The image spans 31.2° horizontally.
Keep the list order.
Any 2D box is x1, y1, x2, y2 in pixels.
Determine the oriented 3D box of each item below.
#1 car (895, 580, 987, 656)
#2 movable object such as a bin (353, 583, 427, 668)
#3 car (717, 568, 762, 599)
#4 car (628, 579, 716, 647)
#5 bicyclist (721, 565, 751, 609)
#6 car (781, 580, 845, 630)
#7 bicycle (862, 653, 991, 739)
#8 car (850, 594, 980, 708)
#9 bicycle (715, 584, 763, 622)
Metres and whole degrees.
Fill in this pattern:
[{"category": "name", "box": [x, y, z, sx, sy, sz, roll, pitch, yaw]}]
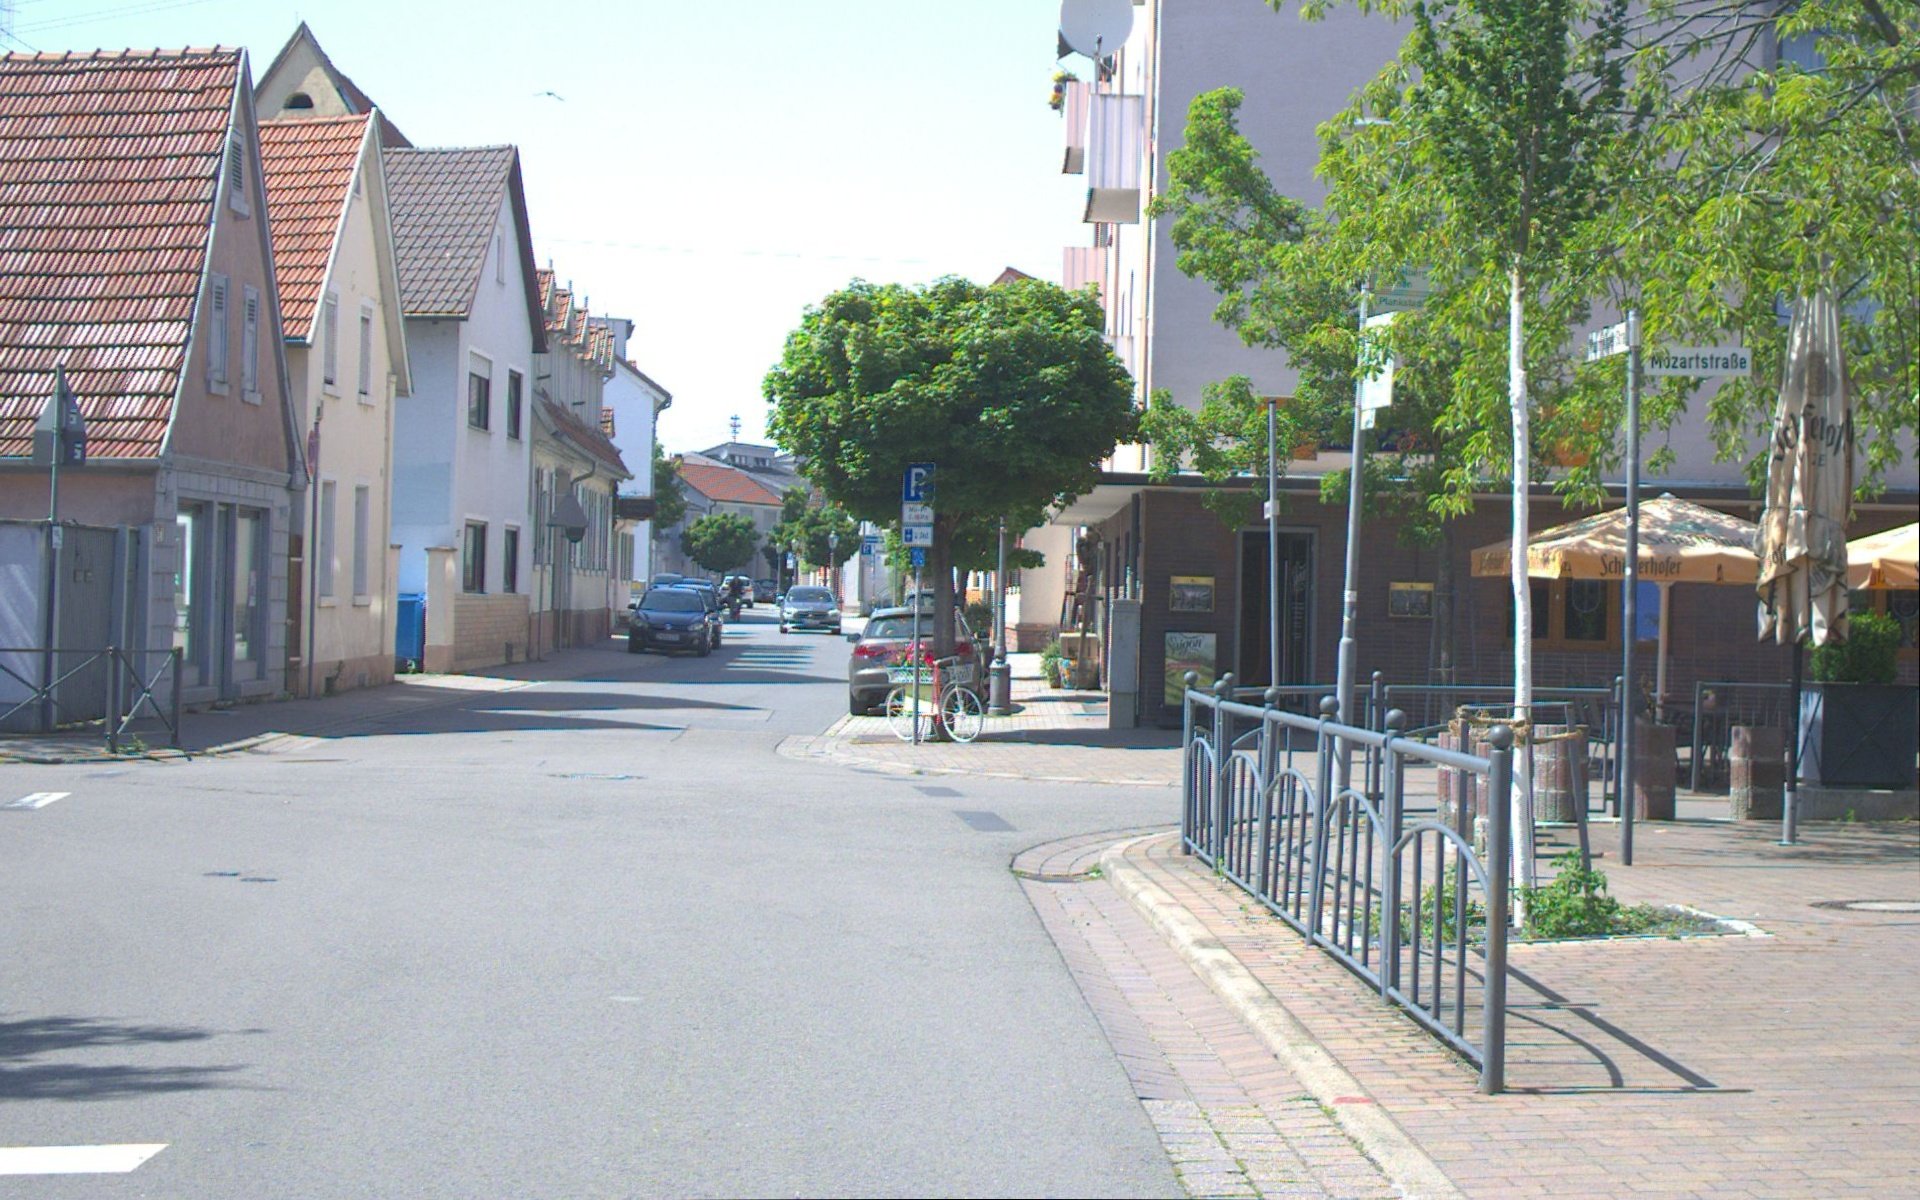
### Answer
[{"category": "car", "box": [-0.435, 0.393, 80.121, 2.043, 1.683, 4.841, 1, 0, 0]}, {"category": "movable object such as a bin", "box": [-9.268, 0.414, 55.902, 1.102, 1.361, 0.390, 1, 0, 4]}, {"category": "car", "box": [-11.659, -0.847, 181.765, 2.027, 1.592, 4.509, 1, 0, 1]}, {"category": "car", "box": [-6.455, 0.271, 77.301, 1.663, 1.471, 4.135, 1, 0, -1]}, {"category": "bicyclist", "box": [-8.420, -0.489, 129.091, 1.046, 1.632, 1.128, 1, 0, -6]}, {"category": "car", "box": [-4.508, 0.171, 105.719, 1.909, 1.476, 4.844, 1, -1, -2]}, {"category": "bicycle", "box": [-0.369, 1.041, 37.626, 1.412, 0.894, 0.464, 0, 1, 37]}, {"category": "car", "box": [-0.572, 0.658, 46.253, 1.576, 1.449, 3.485, 1, 0, 2]}, {"category": "bicycle", "box": [-8.332, 0.096, 129.439, 1.623, 1.366, 3.926, 1, 0, -6]}]
